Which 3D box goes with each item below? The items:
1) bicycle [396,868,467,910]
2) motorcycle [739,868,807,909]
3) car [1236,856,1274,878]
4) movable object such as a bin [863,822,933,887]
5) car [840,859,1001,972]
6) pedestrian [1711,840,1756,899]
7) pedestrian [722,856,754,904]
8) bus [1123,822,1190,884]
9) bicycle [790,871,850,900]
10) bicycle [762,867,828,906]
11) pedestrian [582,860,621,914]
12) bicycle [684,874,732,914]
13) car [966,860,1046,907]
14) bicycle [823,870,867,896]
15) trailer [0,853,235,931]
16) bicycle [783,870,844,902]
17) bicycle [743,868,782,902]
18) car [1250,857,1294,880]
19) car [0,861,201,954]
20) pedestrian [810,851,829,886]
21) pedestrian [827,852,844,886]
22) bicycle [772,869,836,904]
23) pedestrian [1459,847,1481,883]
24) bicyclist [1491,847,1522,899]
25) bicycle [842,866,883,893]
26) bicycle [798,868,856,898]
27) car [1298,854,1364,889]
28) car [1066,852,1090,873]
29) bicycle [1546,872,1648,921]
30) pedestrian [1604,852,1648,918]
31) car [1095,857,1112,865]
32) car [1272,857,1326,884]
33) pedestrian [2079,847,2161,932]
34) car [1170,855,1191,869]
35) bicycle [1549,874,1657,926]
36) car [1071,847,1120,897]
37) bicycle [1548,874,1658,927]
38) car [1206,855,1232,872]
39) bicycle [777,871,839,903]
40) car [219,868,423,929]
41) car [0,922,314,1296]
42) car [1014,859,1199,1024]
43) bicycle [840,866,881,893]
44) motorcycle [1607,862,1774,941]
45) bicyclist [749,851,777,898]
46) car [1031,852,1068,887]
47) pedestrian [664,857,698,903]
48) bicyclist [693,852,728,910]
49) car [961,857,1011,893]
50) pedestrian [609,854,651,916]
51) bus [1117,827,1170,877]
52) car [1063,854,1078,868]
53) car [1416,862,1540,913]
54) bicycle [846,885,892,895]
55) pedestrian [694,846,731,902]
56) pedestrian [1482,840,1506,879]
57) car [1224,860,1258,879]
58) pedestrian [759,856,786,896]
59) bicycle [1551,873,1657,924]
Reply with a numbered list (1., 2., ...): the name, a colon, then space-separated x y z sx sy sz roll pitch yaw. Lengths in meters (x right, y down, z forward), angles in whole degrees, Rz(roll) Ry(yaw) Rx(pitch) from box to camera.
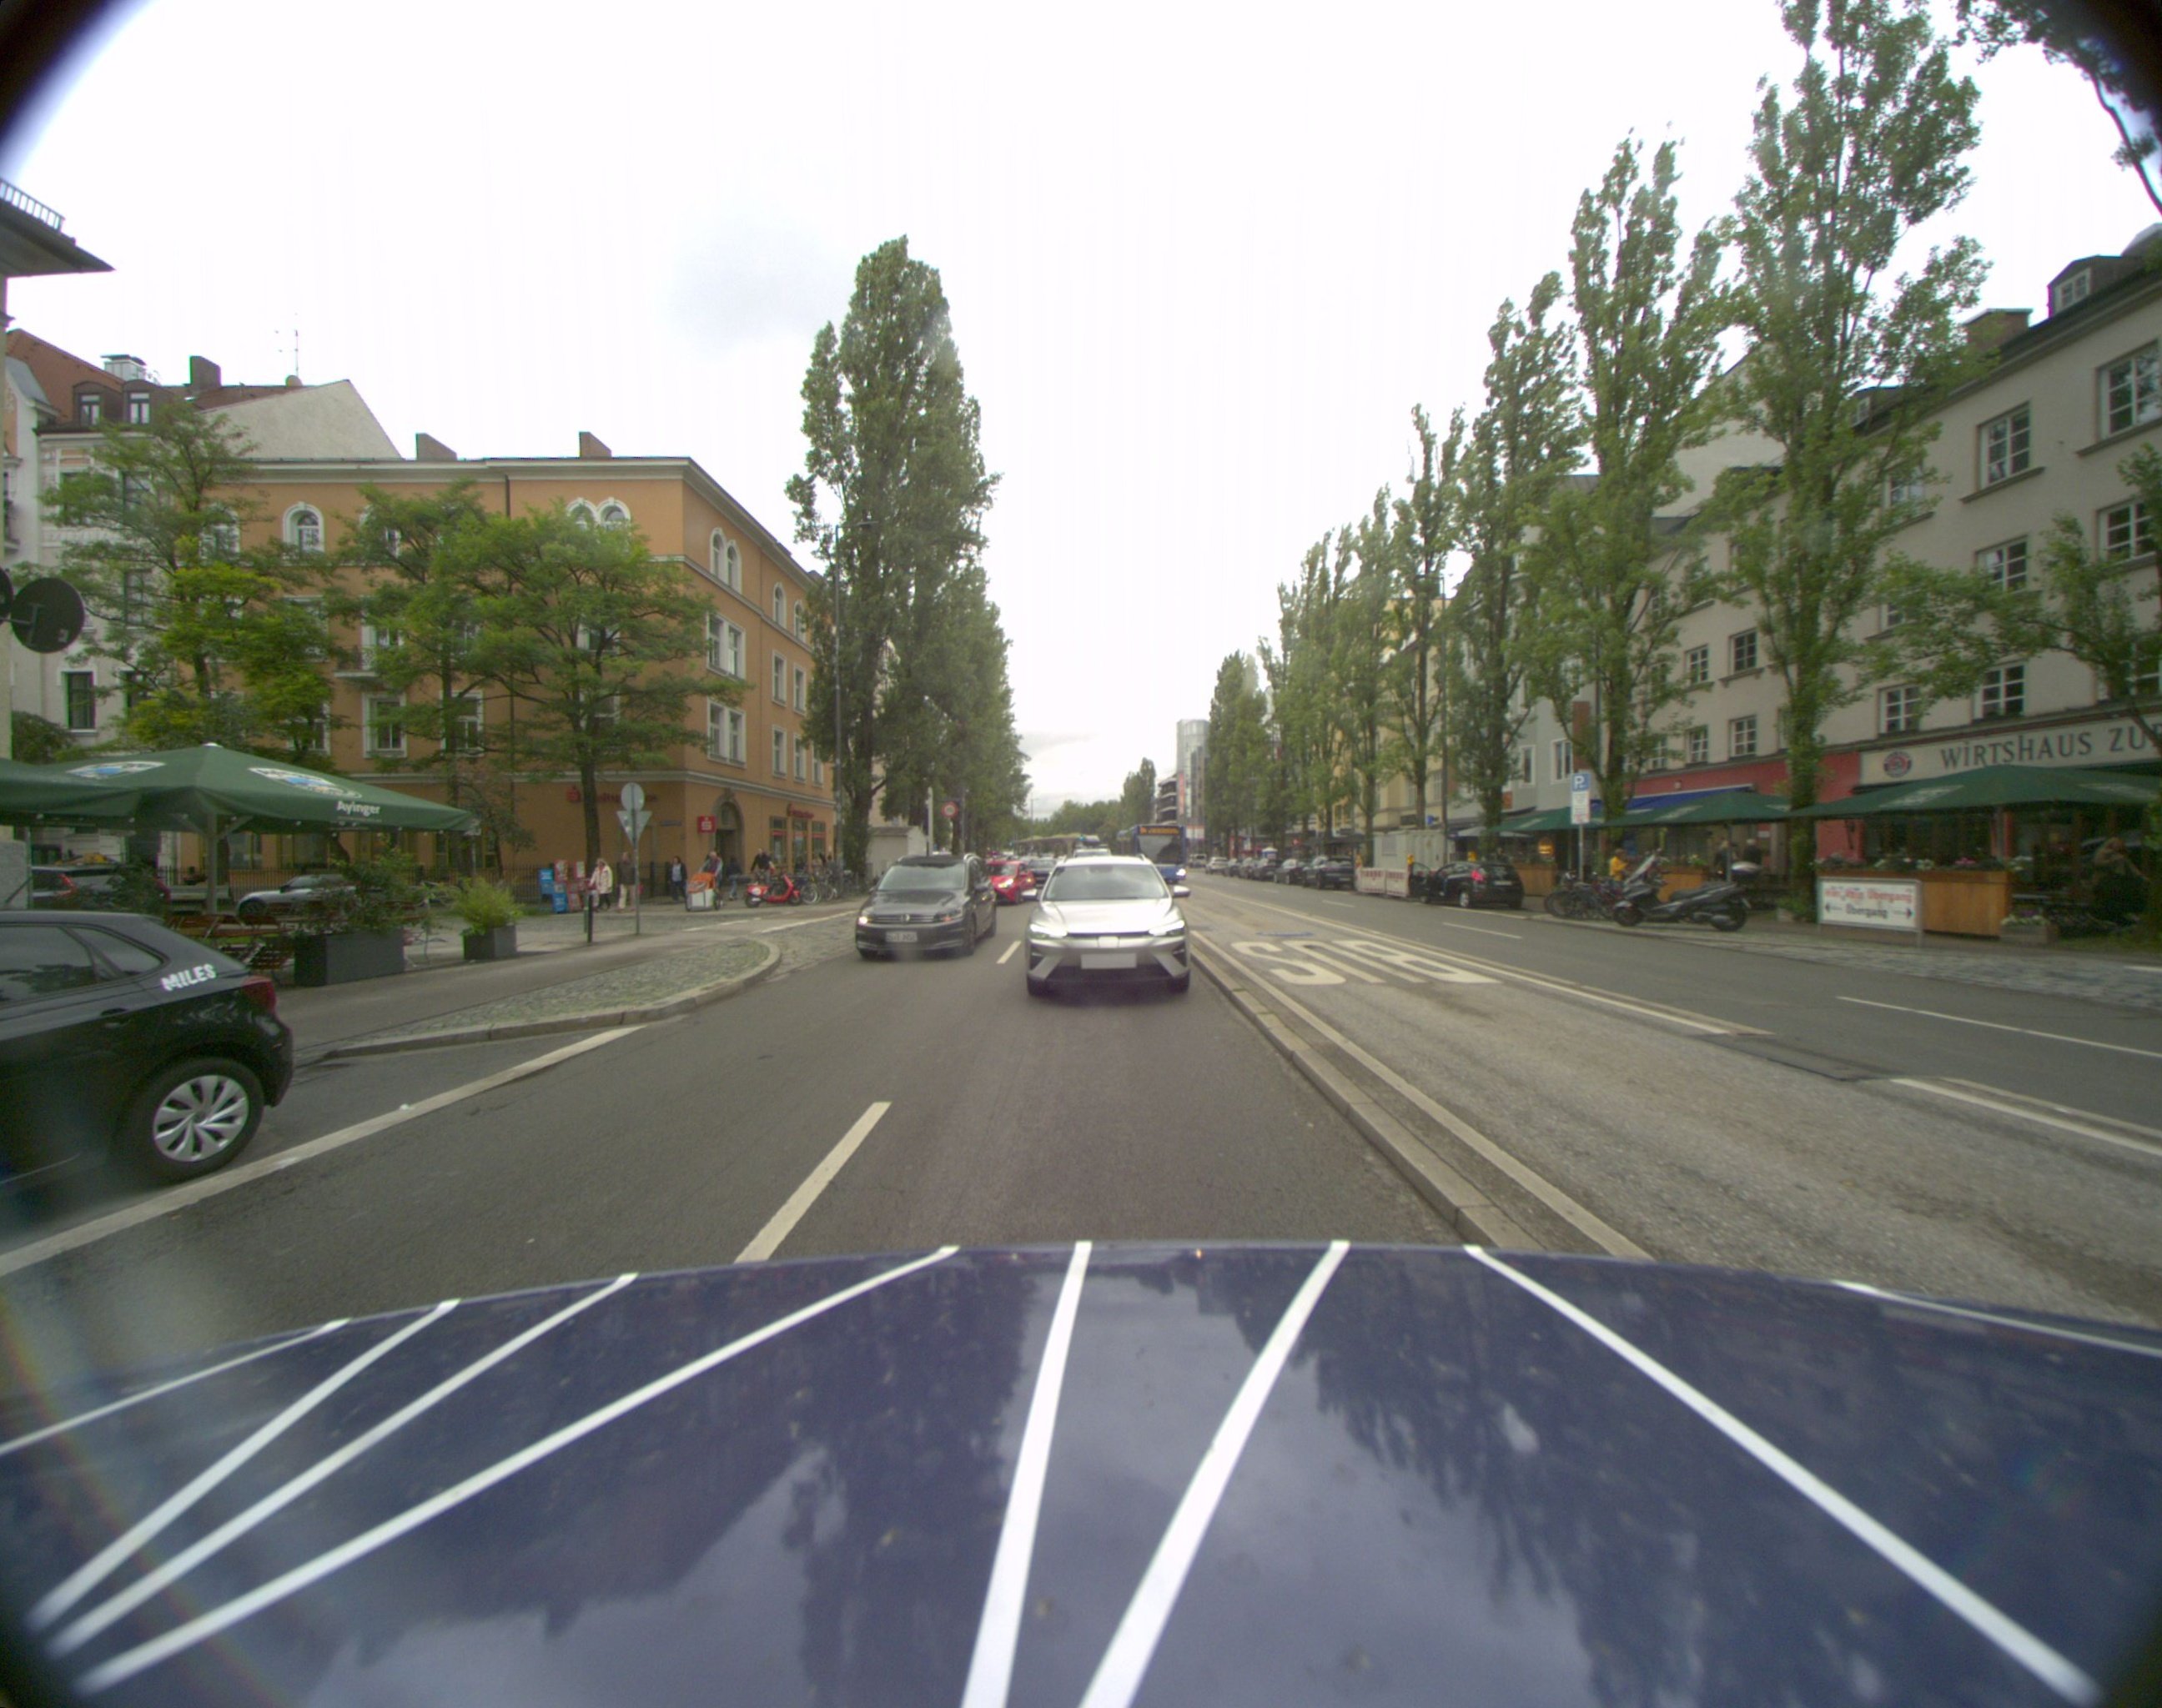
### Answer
1. bicycle: -22.449 1.196 26.284 1.945 1.364 0.561 -2 1 2
2. motorcycle: -9.736 1.080 24.031 1.963 1.214 0.514 -1 1 -25
3. car: 12.552 0.876 55.000 1.802 1.495 4.574 0 0 1
4. movable object such as a bin: -9.378 0.020 39.415 2.445 3.119 4.543 1 0 1
5. car: -2.580 0.921 13.295 1.882 1.582 4.192 -2 0 0
6. pedestrian: 21.484 0.489 25.035 0.699 1.915 0.905 0 1 4
7. pedestrian: -12.292 0.919 27.256 0.746 1.651 0.771 -2 1 -3
8. bus: 3.880 -0.044 41.152 2.696 2.932 10.052 0 0 0
9. bicycle: -9.485 1.144 27.635 1.945 1.004 0.561 -1 1 2
10. bicycle: -9.387 1.069 24.993 1.945 1.232 0.561 -1 1 2
11. pedestrian: -14.333 0.980 22.714 0.699 1.562 0.575 -2 1 4
12. bicycle: -11.325 1.184 23.161 0.888 1.113 2.099 -1 0 -15
13. car: -2.509 0.978 26.430 1.615 1.425 4.006 -2 0 11
14. bicycle: -9.252 1.128 29.836 1.602 1.004 0.342 -1 1 -6
15. trailer: -28.093 1.061 21.872 5.252 2.016 1.906 -1 0 -1
16. bicycle: -9.499 1.132 27.031 1.945 1.069 0.561 -1 1 2
17. bicycle: -11.440 1.103 27.379 0.737 1.113 2.100 -1 0 -7
18. car: 12.414 0.898 49.652 1.802 1.432 4.574 0 0 1
19. car: -21.358 1.091 15.624 4.425 1.692 1.972 -2 1 5
20. pedestrian: -12.949 0.720 37.654 0.634 1.684 0.574 -2 1 -1
21. pedestrian: -12.321 0.747 38.094 0.619 1.684 0.574 -2 1 -2
22. bicycle: -9.347 1.101 25.636 1.945 1.130 0.561 -1 1 2
23. pedestrian: 20.797 0.575 40.627 0.699 1.915 0.905 0 1 4
24. bicyclist: 14.222 0.633 25.403 0.606 1.695 0.816 -1 1 2
25. bicycle: -9.018 1.053 31.359 1.604 1.078 0.341 -1 1 -21
26. bicycle: -9.476 1.078 28.383 1.945 1.078 0.561 -1 1 2
27. car: 12.114 0.804 37.121 1.802 1.603 4.574 0 0 1
28. car: -0.265 0.727 65.557 1.707 1.683 4.001 -2 0 -5
29. bicycle: 12.230 0.999 18.059 1.976 1.119 0.343 -2 1 37
30. pedestrian: 14.458 0.802 20.162 0.701 1.716 0.730 0 1 -29
31. car: 3.742 1.162 126.109 1.783 1.391 4.357 0 0 -14
32. car: 12.267 0.877 43.072 1.802 1.432 4.574 0 0 1
33. pedestrian: 20.359 0.673 14.856 0.699 1.614 0.732 0 1 4
34. car: 10.891 0.861 83.382 1.718 1.532 4.077 1 0 1
35. bicycle: 11.747 1.014 17.144 1.976 1.119 0.283 -2 1 37
36. car: 0.556 0.681 32.006 1.839 1.831 5.129 -2 1 0
37. bicycle: 11.556 1.018 16.861 1.976 1.119 0.361 -2 1 37
38. car: 12.900 0.873 71.119 1.802 1.568 4.104 0 0 1
39. bicycle: -9.440 1.141 26.288 1.945 1.082 0.561 -1 1 2
40. car: -22.291 1.279 22.415 3.997 1.511 1.906 -2 1 0
41. car: -5.246 1.109 2.377 1.698 1.408 3.951 -1 0 -1
42. car: 0.257 0.866 9.395 1.742 1.510 4.033 -2 0 0
43. bicycle: -9.175 1.039 31.689 1.610 1.078 0.321 -1 1 -21
44. motorcycle: 11.930 0.876 14.983 0.747 1.406 2.448 0 0 -33
45. bicyclist: -11.439 0.734 27.332 0.741 1.677 0.748 -1 1 -7
46. car: -1.690 0.773 39.987 1.707 1.683 4.001 -2 0 -5
47. pedestrian: -14.007 0.895 26.611 0.745 1.562 0.664 -2 1 4
48. bicyclist: -11.397 0.807 23.407 0.831 1.747 0.666 -1 1 -15
49. car: -4.499 0.953 36.652 1.789 1.544 4.498 -2 0 0
50. pedestrian: -13.362 0.904 22.513 0.699 1.756 0.732 -2 1 4
51. bus: 3.943 -0.104 49.927 2.690 2.932 10.052 0 0 0
52. car: -1.332 0.891 96.823 1.789 1.604 4.498 -2 0 0
53. car: 12.265 0.976 23.778 1.760 1.414 3.784 1 0 -2
54. bicycle: -8.538 1.447 30.612 1.677 0.371 0.830 1 0 -7
55. pedestrian: -13.099 0.712 27.046 0.840 1.937 0.802 -2 1 -1
56. pedestrian: 20.613 0.273 37.945 0.699 1.915 0.905 0 1 4
57. car: 12.716 1.224 60.607 1.802 1.432 4.574 0 0 1
58. pedestrian: -12.382 0.860 30.547 0.745 1.562 0.614 -2 1 4
59. bicycle: 11.921 1.006 17.369 1.976 1.119 0.283 -2 1 37
